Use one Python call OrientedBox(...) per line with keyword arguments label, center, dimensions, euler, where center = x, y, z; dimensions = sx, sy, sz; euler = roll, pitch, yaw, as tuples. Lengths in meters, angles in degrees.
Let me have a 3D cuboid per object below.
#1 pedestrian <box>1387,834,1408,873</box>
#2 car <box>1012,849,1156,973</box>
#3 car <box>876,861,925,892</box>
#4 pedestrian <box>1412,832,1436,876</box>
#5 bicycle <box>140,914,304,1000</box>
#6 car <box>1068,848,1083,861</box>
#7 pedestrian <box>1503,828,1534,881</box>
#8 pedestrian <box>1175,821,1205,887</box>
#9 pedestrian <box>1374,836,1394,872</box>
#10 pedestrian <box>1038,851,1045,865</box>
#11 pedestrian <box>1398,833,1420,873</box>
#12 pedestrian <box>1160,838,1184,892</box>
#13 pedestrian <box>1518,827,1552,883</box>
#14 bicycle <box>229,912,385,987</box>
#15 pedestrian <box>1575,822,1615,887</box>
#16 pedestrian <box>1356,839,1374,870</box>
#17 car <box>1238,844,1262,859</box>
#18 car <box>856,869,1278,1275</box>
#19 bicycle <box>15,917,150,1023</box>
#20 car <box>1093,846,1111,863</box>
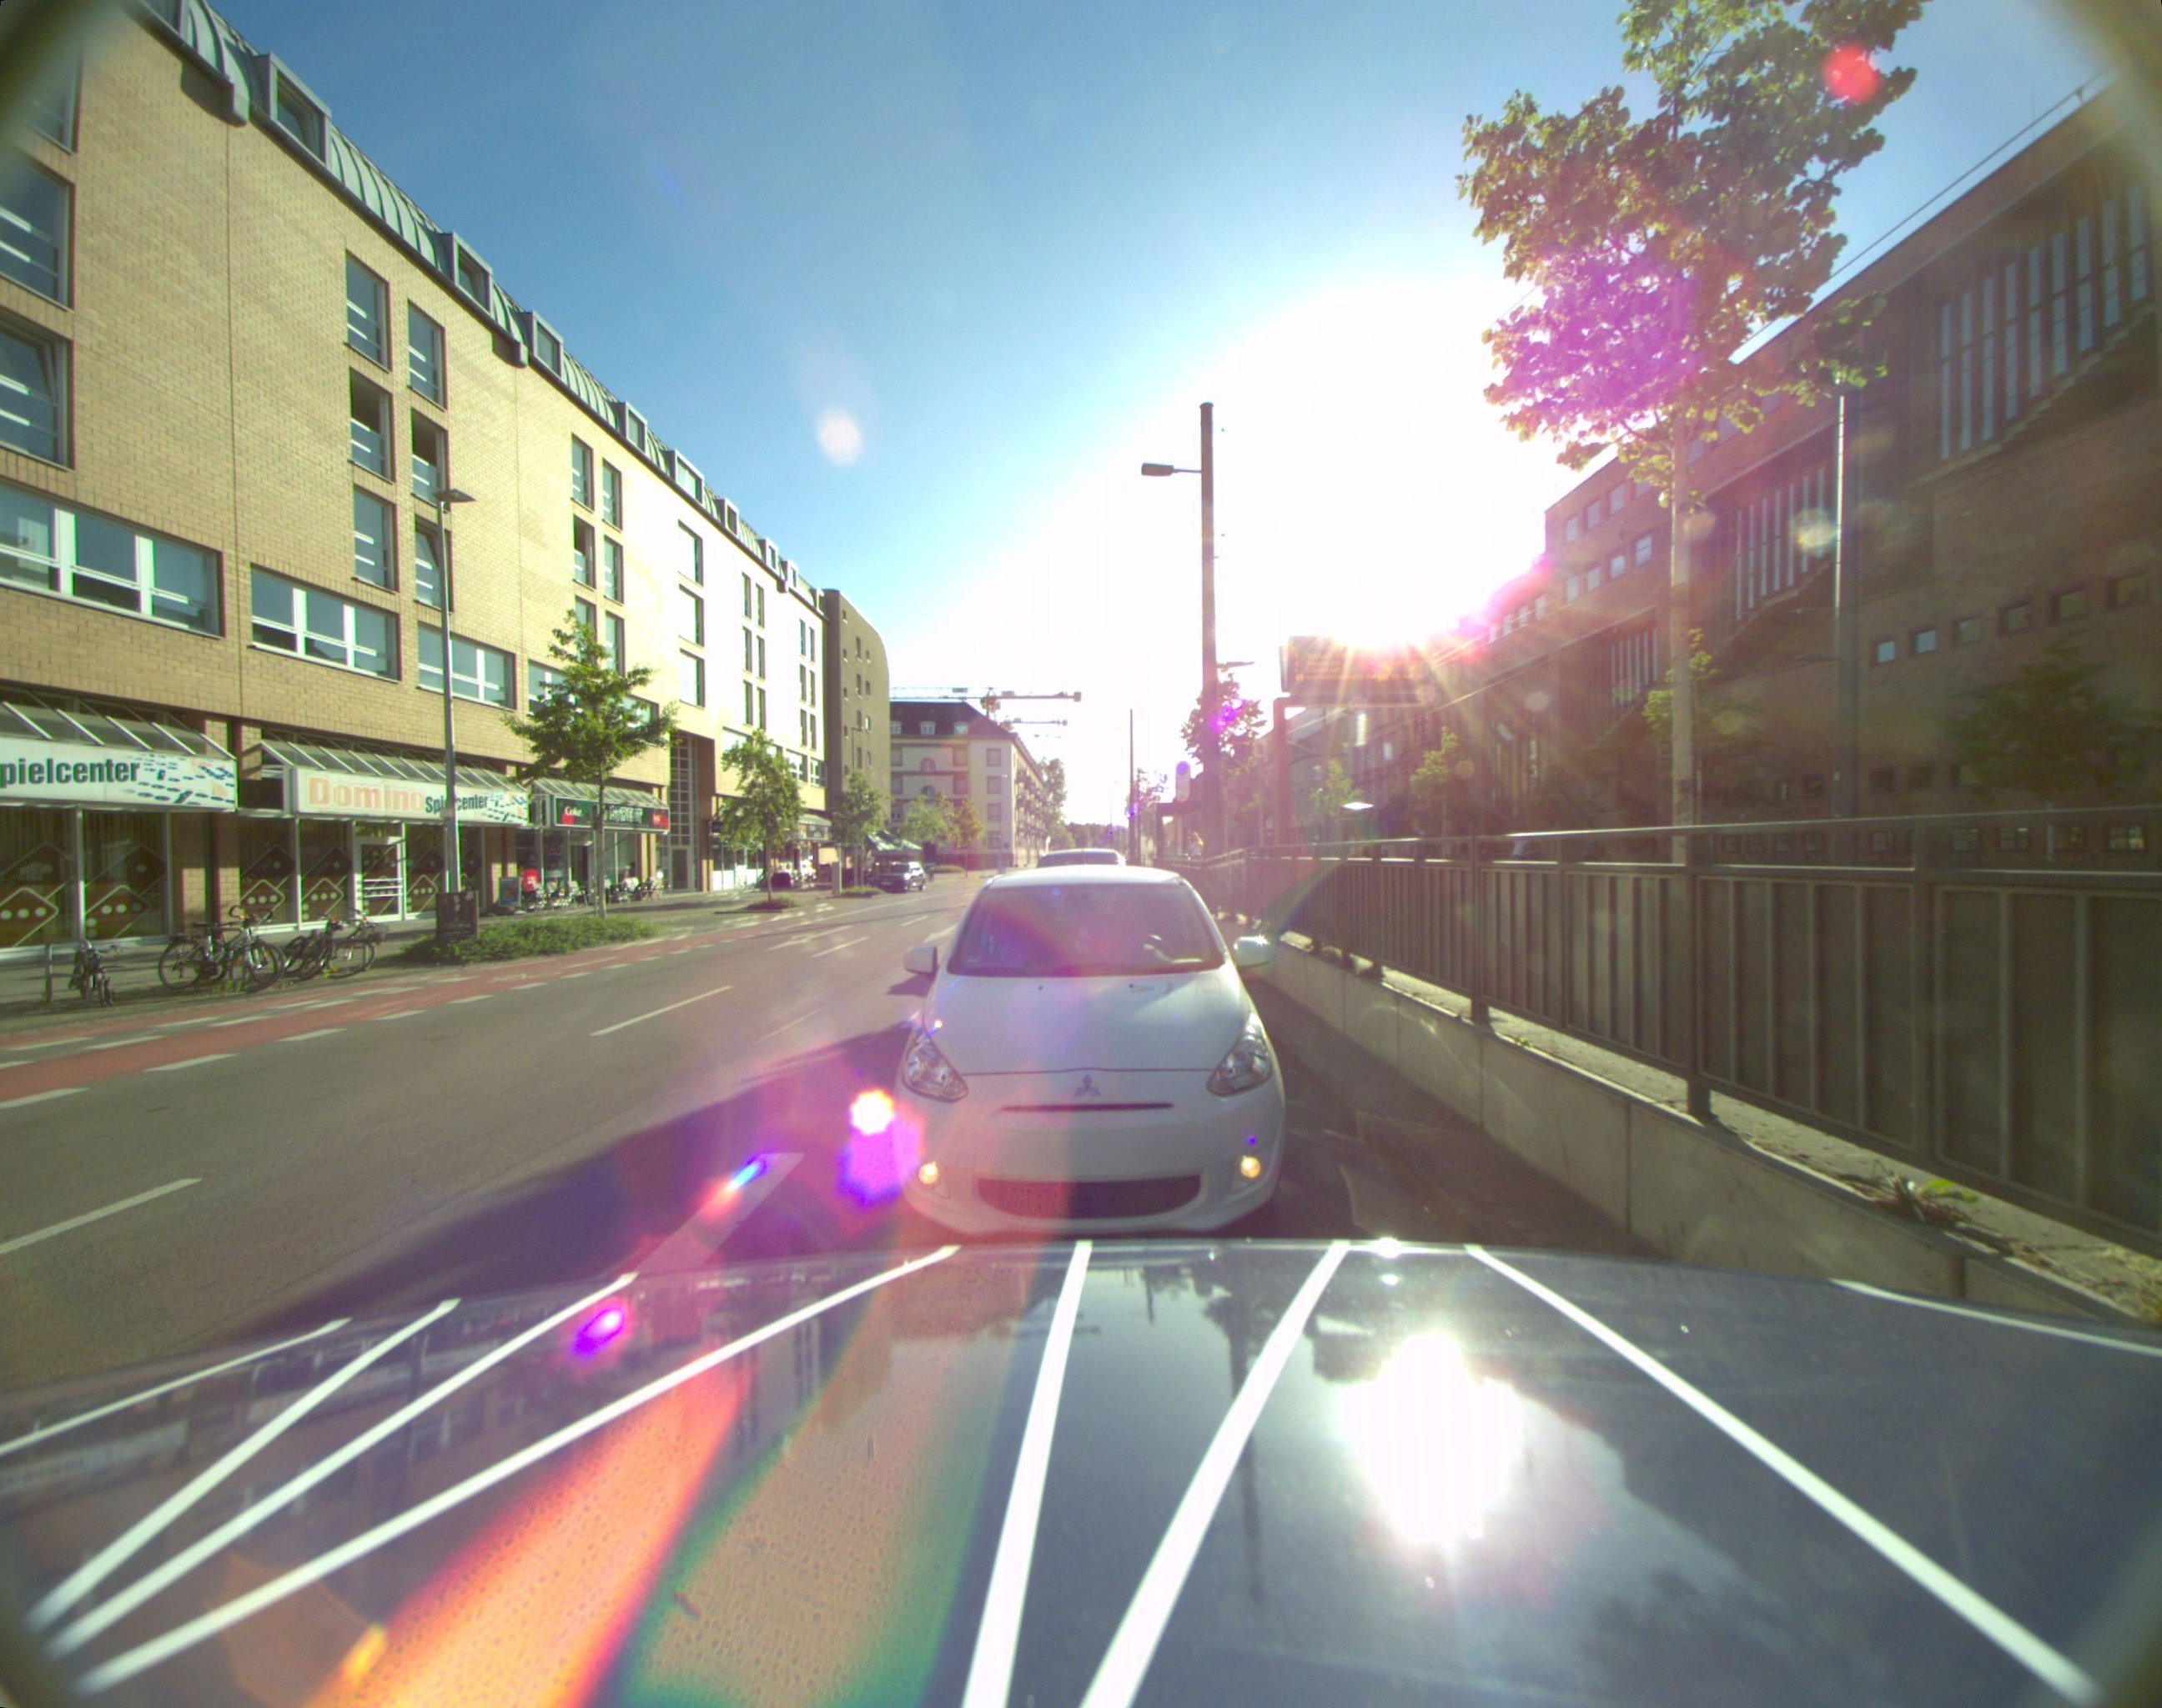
OrientedBox(label="pedestrian", center=(14.491, -0.018, 34.778), dimensions=(0.692, 1.732, 0.586), euler=(-1, 1, -2))
OrientedBox(label="car", center=(0.075, 0.788, 12.835), dimensions=(1.955, 1.652, 4.355), euler=(-2, 1, 1))
OrientedBox(label="car", center=(-9.838, 1.198, 41.627), dimensions=(1.655, 1.521, 3.693), euler=(-2, 1, 1))
OrientedBox(label="pedestrian", center=(13.911, 0.005, 30.802), dimensions=(0.692, 1.732, 0.586), euler=(-1, 1, -2))
OrientedBox(label="bicycle", center=(-12.394, 1.472, 10.986), dimensions=(1.774, 1.135, 0.553), euler=(0, 2, 3))
OrientedBox(label="car", center=(-0.753, 0.039, 96.632), dimensions=(1.829, 1.644, 3.682), euler=(-1, 0, -1))
OrientedBox(label="pedestrian", center=(14.491, 0.017, 25.165), dimensions=(0.692, 1.732, 0.586), euler=(-1, 1, -2))
OrientedBox(label="pedestrian", center=(3.393, -0.005, 23.722), dimensions=(0.784, 2.002, 0.880), euler=(-1, 1, 1))
OrientedBox(label="pedestrian", center=(14.369, 0.000, 36.099), dimensions=(0.692, 1.732, 0.586), euler=(-1, 1, -2))
OrientedBox(label="pedestrian", center=(-4.505, 0.457, 86.835), dimensions=(0.804, 1.656, 0.891), euler=(-1, 1, -5))
OrientedBox(label="pedestrian", center=(14.441, -0.045, 33.492), dimensions=(0.692, 1.732, 0.586), euler=(-1, 1, -2))
OrientedBox(label="pedestrian", center=(3.433, 0.402, 28.819), dimensions=(0.784, 2.002, 0.880), euler=(-1, 1, 0))
OrientedBox(label="pedestrian", center=(14.515, 0.032, 24.300), dimensions=(0.692, 1.732, 0.586), euler=(-1, 1, -2))
OrientedBox(label="bicycle", center=(-12.368, 1.513, 12.181), dimensions=(1.774, 1.065, 0.737), euler=(0, 2, 3))
OrientedBox(label="pedestrian", center=(13.941, 0.021, 20.620), dimensions=(0.692, 1.732, 0.586), euler=(-1, 1, -2))
OrientedBox(label="pedestrian", center=(14.485, 0.046, 38.733), dimensions=(0.692, 1.566, 0.586), euler=(-1, 1, -2))
OrientedBox(label="car", center=(16.865, -0.239, 75.961), dimensions=(1.702, 1.477, 3.704), euler=(-1, 0, 1))
OrientedBox(label="car", center=(-0.027, 0.923, 5.148), dimensions=(1.640, 1.458, 4.186), euler=(-2, 1, 1))
OrientedBox(label="bicycle", center=(-12.815, 1.451, 9.751), dimensions=(1.771, 1.142, 0.554), euler=(1, 2, 21))
OrientedBox(label="car", center=(2.352, 0.060, 86.764), dimensions=(1.998, 1.958, 4.000), euler=(-1, 0, 1))
